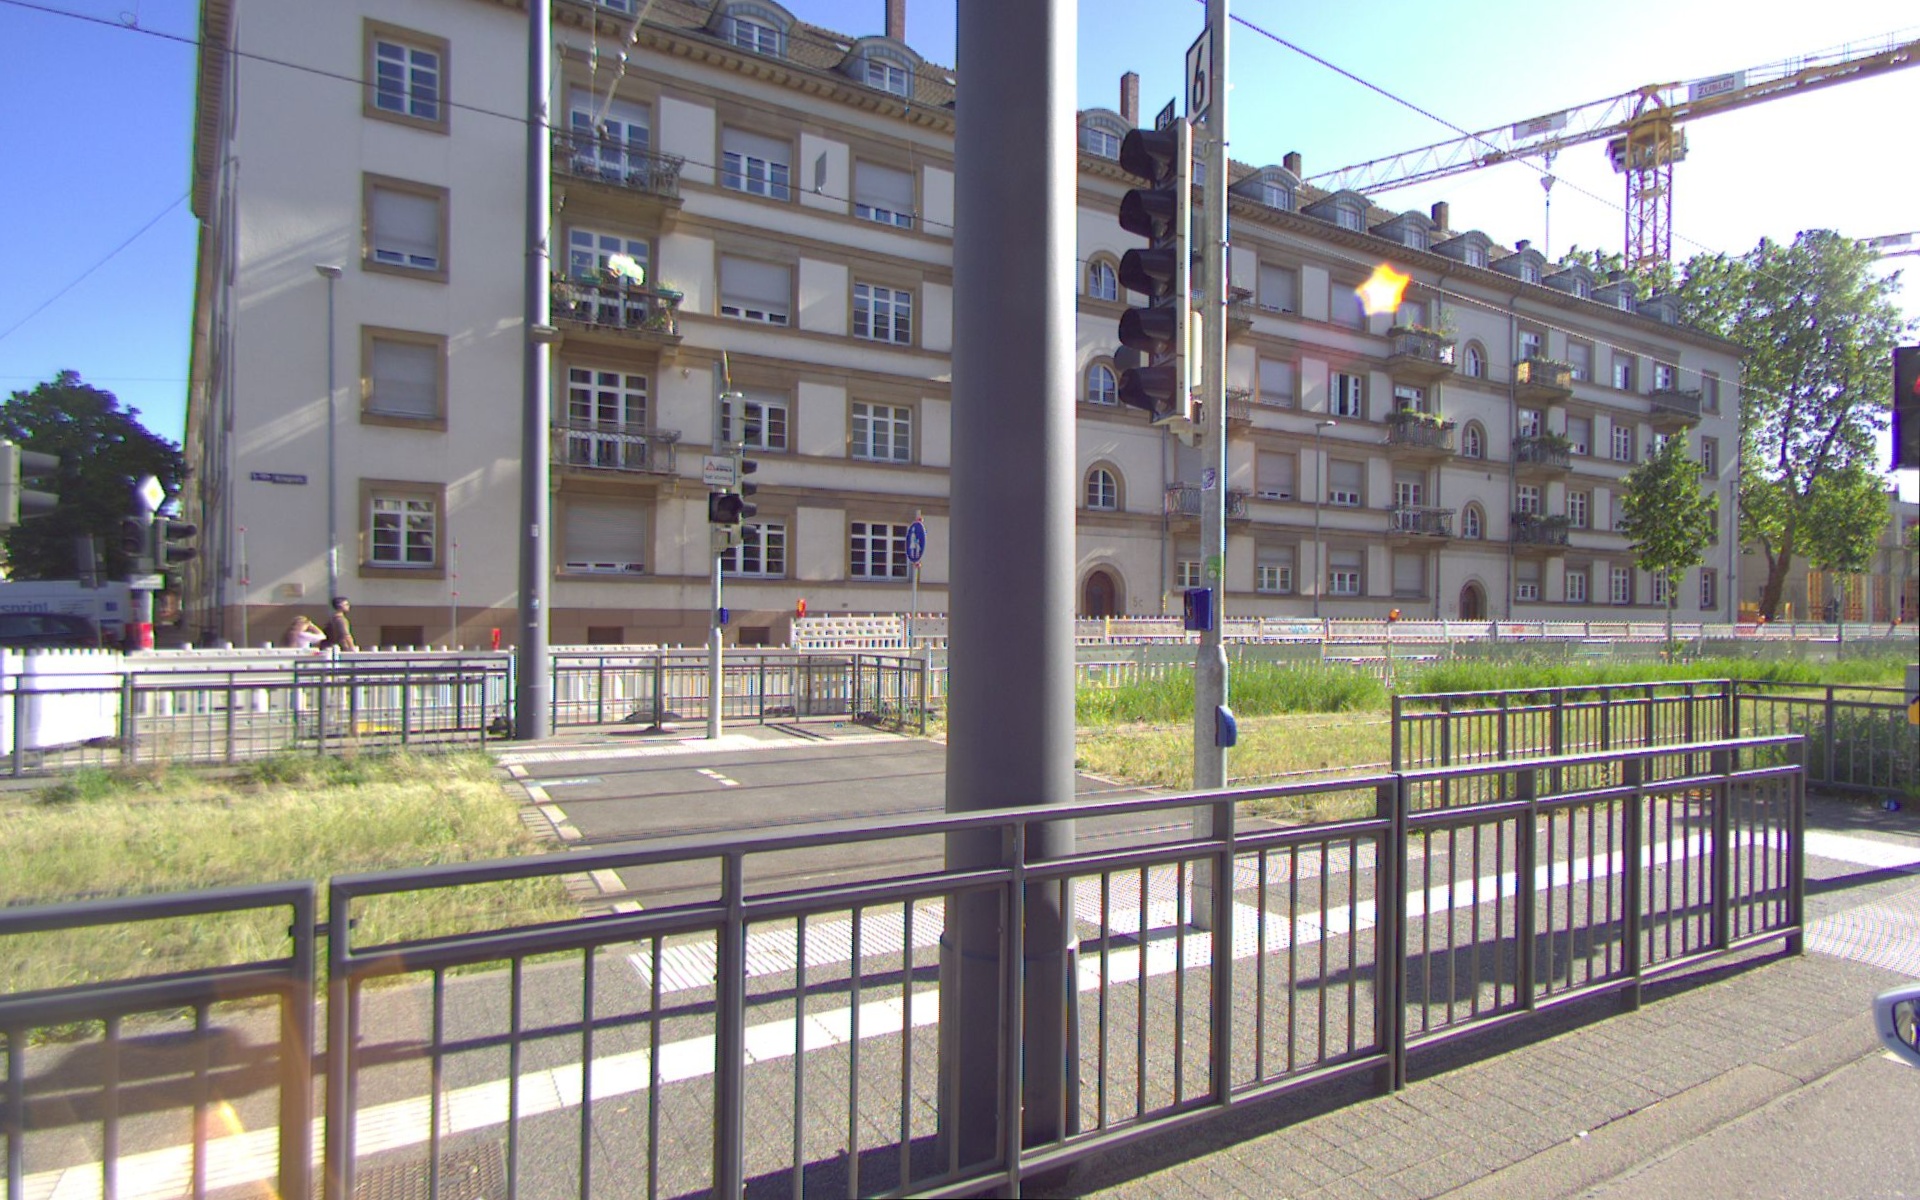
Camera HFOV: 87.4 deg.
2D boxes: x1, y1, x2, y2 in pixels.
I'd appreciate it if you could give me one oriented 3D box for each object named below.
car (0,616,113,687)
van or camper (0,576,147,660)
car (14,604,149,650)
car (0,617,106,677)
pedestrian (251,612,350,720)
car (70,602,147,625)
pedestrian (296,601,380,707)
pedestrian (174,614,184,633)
[{"bbox_3d":[-21.475,1.143,22.594,3.642,1.542,1.672,1,-1,-39],"label":"car"},{"bbox_3d":[-28.150,0.548,30.021,5.911,2.432,1.976,1,-1,-42],"label":"van or camper"},{"bbox_3d":[-35.596,1.090,40.845,3.963,1.799,1.724,1,-1,-37],"label":"car"},{"bbox_3d":[-25.072,1.234,26.622,3.635,1.542,1.672,1,-1,-39],"label":"car"},{"bbox_3d":[-10.000,0.972,15.252,0.891,1.557,0.868,1,0,15],"label":"pedestrian"},{"bbox_3d":[-58.580,0.950,69.151,1.730,1.480,3.854,0,-1,43],"label":"car"},{"bbox_3d":[-10.865,0.921,17.562,0.891,1.804,0.868,1,0,1],"label":"pedestrian"},{"bbox_3d":[-71.983,2.169,92.580,0.682,1.778,0.808,1,-1,-36],"label":"pedestrian"}]
